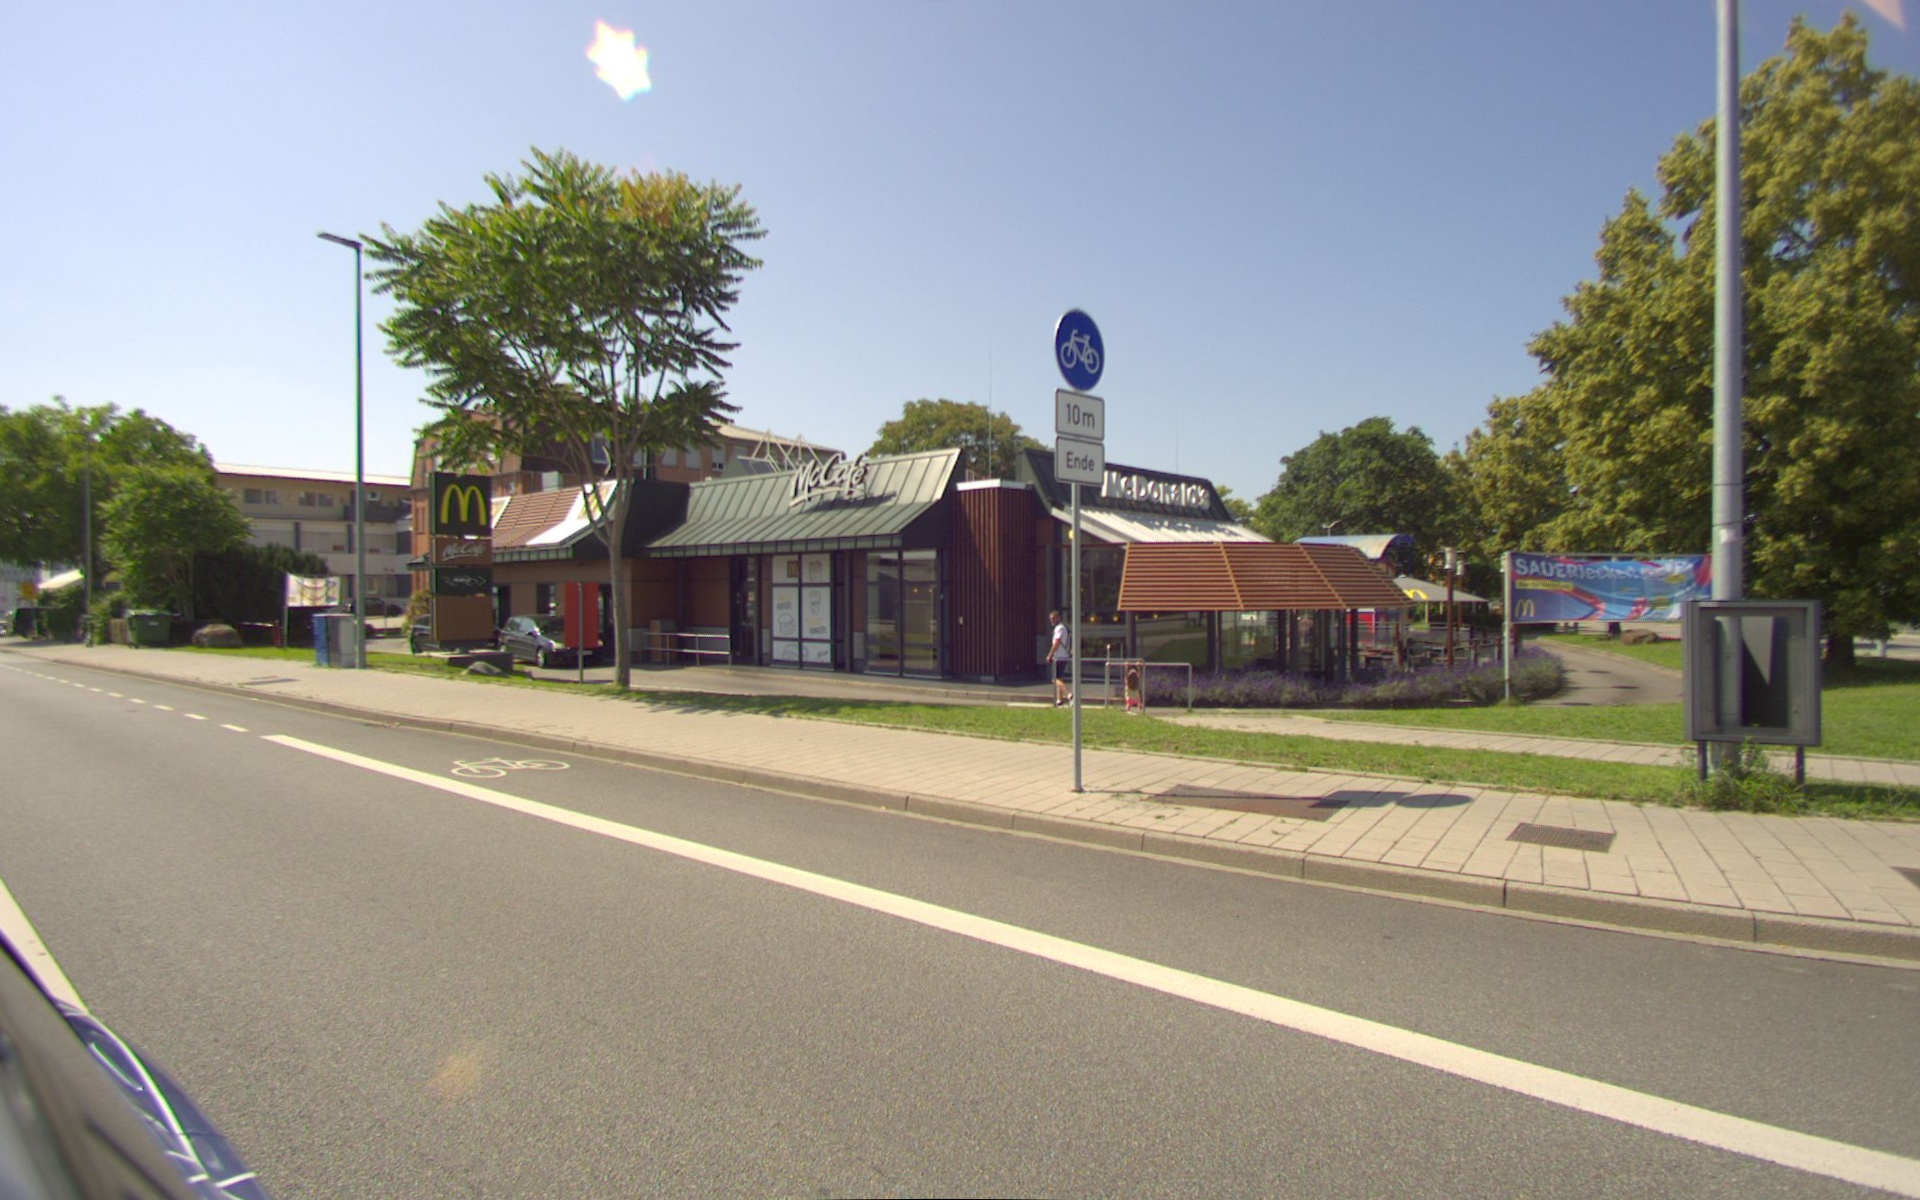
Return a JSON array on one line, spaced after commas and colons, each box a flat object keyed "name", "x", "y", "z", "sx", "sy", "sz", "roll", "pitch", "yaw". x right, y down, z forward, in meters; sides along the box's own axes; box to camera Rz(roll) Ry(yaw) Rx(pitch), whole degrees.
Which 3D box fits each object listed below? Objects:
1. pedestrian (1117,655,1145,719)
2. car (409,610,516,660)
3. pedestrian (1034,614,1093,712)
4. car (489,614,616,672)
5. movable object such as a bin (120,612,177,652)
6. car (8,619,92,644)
[{"name": "pedestrian", "x": 2.805, "y": 1.411, "z": 16.572, "sx": 0.378, "sy": 1.005, "sz": 0.507, "roll": -1, "pitch": 0, "yaw": 18}, {"name": "car", "x": -16.867, "y": 1.146, "z": 34.230, "sx": 4.187, "sy": 1.564, "sz": 1.840, "roll": -1, "pitch": 0, "yaw": 42}, {"name": "pedestrian", "x": 1.935, "y": 1.156, "z": 18.925, "sx": 0.891, "sy": 1.771, "sz": 0.630, "roll": -1, "pitch": 0, "yaw": 37}, {"name": "car", "x": -11.985, "y": 1.202, "z": 29.655, "sx": 4.187, "sy": 1.564, "sz": 1.840, "roll": -1, "pitch": 0, "yaw": 42}, {"name": "movable object such as a bin", "x": -30.805, "y": 1.196, "z": 38.400, "sx": 1.455, "sy": 1.422, "sz": 1.449, "roll": -1, "pitch": 0, "yaw": 41}, {"name": "car", "x": -57.315, "y": 1.953, "z": 63.773, "sx": 3.850, "sy": 1.408, "sz": 1.653, "roll": -1, "pitch": 0, "yaw": -44}]
